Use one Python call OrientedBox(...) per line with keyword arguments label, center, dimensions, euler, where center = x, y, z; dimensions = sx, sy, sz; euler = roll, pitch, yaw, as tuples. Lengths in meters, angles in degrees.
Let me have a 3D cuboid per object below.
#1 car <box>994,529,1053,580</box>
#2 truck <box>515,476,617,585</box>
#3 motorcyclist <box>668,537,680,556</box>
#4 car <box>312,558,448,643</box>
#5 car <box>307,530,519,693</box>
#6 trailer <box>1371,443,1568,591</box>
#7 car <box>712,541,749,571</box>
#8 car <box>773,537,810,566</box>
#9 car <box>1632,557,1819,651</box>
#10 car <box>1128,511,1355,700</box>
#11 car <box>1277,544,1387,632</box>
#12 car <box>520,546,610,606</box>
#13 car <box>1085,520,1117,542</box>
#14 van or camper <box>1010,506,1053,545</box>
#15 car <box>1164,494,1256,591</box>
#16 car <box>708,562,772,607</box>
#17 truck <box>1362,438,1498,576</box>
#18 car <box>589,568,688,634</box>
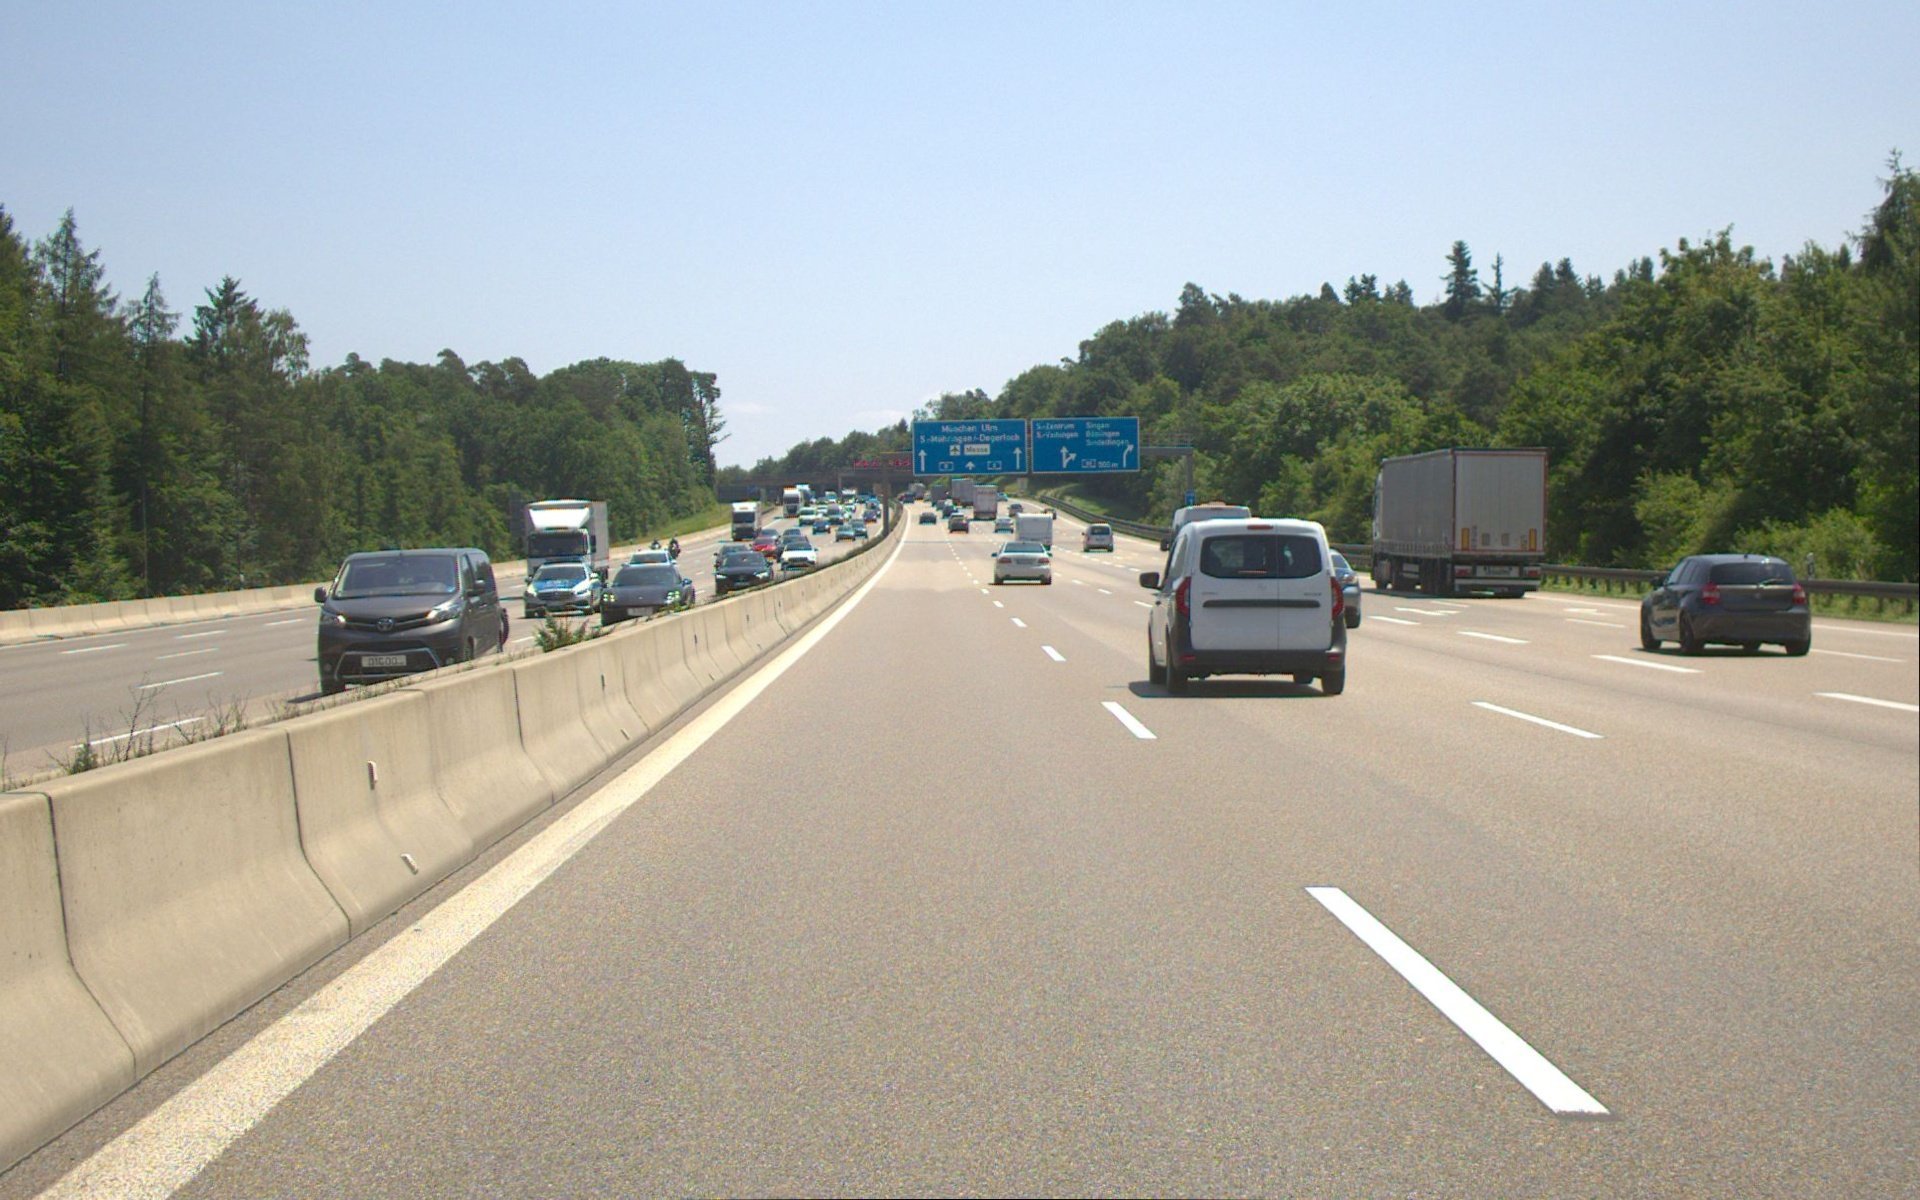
OrientedBox(label="car", center=(2.118, -1.546, 115.470), dimensions=(1.843, 1.623, 4.553), euler=(-2, 1, 0))
OrientedBox(label="truck", center=(-15.191, -2.663, 133.179), dimensions=(2.858, 3.999, 9.469), euler=(-1, 1, 0))
OrientedBox(label="motorcyclist", center=(-20.362, -3.823, 244.858), dimensions=(0.760, 1.297, 1.078), euler=(-2, 2, 0))
OrientedBox(label="car", center=(-10.904, -0.020, 64.902), dimensions=(1.760, 1.459, 4.840), euler=(-1, 1, -1))
OrientedBox(label="car", center=(-7.147, 0.091, 45.437), dimensions=(1.898, 1.947, 5.657), euler=(-2, 1, -1))
OrientedBox(label="trailer", center=(14.430, -2.453, 98.722), dimensions=(3.287, 3.917, 13.892), euler=(0, 2, -1))
OrientedBox(label="car", center=(-11.756, -2.265, 176.392), dimensions=(1.702, 1.422, 4.614), euler=(-2, 1, -2))
OrientedBox(label="car", center=(-8.670, -2.506, 177.410), dimensions=(1.824, 1.389, 4.465), euler=(-2, 1, -2))
OrientedBox(label="car", center=(10.812, 0.038, 48.811), dimensions=(1.670, 1.269, 4.290), euler=(0, 0, 0))
OrientedBox(label="car", center=(2.917, 0.011, 36.534), dimensions=(1.859, 1.819, 4.613), euler=(-2, 1, -2))
OrientedBox(label="car", center=(6.776, -0.245, 62.920), dimensions=(1.503, 1.495, 3.650), euler=(-2, 1, -1))
OrientedBox(label="car", center=(-11.041, -0.701, 96.346), dimensions=(1.913, 1.507, 5.232), euler=(-3, 1, -1))
OrientedBox(label="car", center=(9.116, -4.442, 222.445), dimensions=(1.835, 1.333, 3.643), euler=(-2, 1, -1))
OrientedBox(label="van or camper", center=(4.761, -4.965, 229.643), dimensions=(2.645, 2.530, 6.502), euler=(-2, 1, 0))
OrientedBox(label="car", center=(7.030, -1.670, 97.223), dimensions=(2.143, 2.643, 5.710), euler=(0, 2, 0))
OrientedBox(label="car", center=(-7.464, -0.547, 117.042), dimensions=(1.913, 1.459, 4.364), euler=(-1, 0, -1))
OrientedBox(label="truck", center=(14.324, -2.856, 105.220), dimensions=(3.254, 4.092, 5.988), euler=(0, 2, -1))
OrientedBox(label="car", center=(-7.522, 0.006, 80.755), dimensions=(1.913, 1.459, 4.588), euler=(-1, 0, -1))
